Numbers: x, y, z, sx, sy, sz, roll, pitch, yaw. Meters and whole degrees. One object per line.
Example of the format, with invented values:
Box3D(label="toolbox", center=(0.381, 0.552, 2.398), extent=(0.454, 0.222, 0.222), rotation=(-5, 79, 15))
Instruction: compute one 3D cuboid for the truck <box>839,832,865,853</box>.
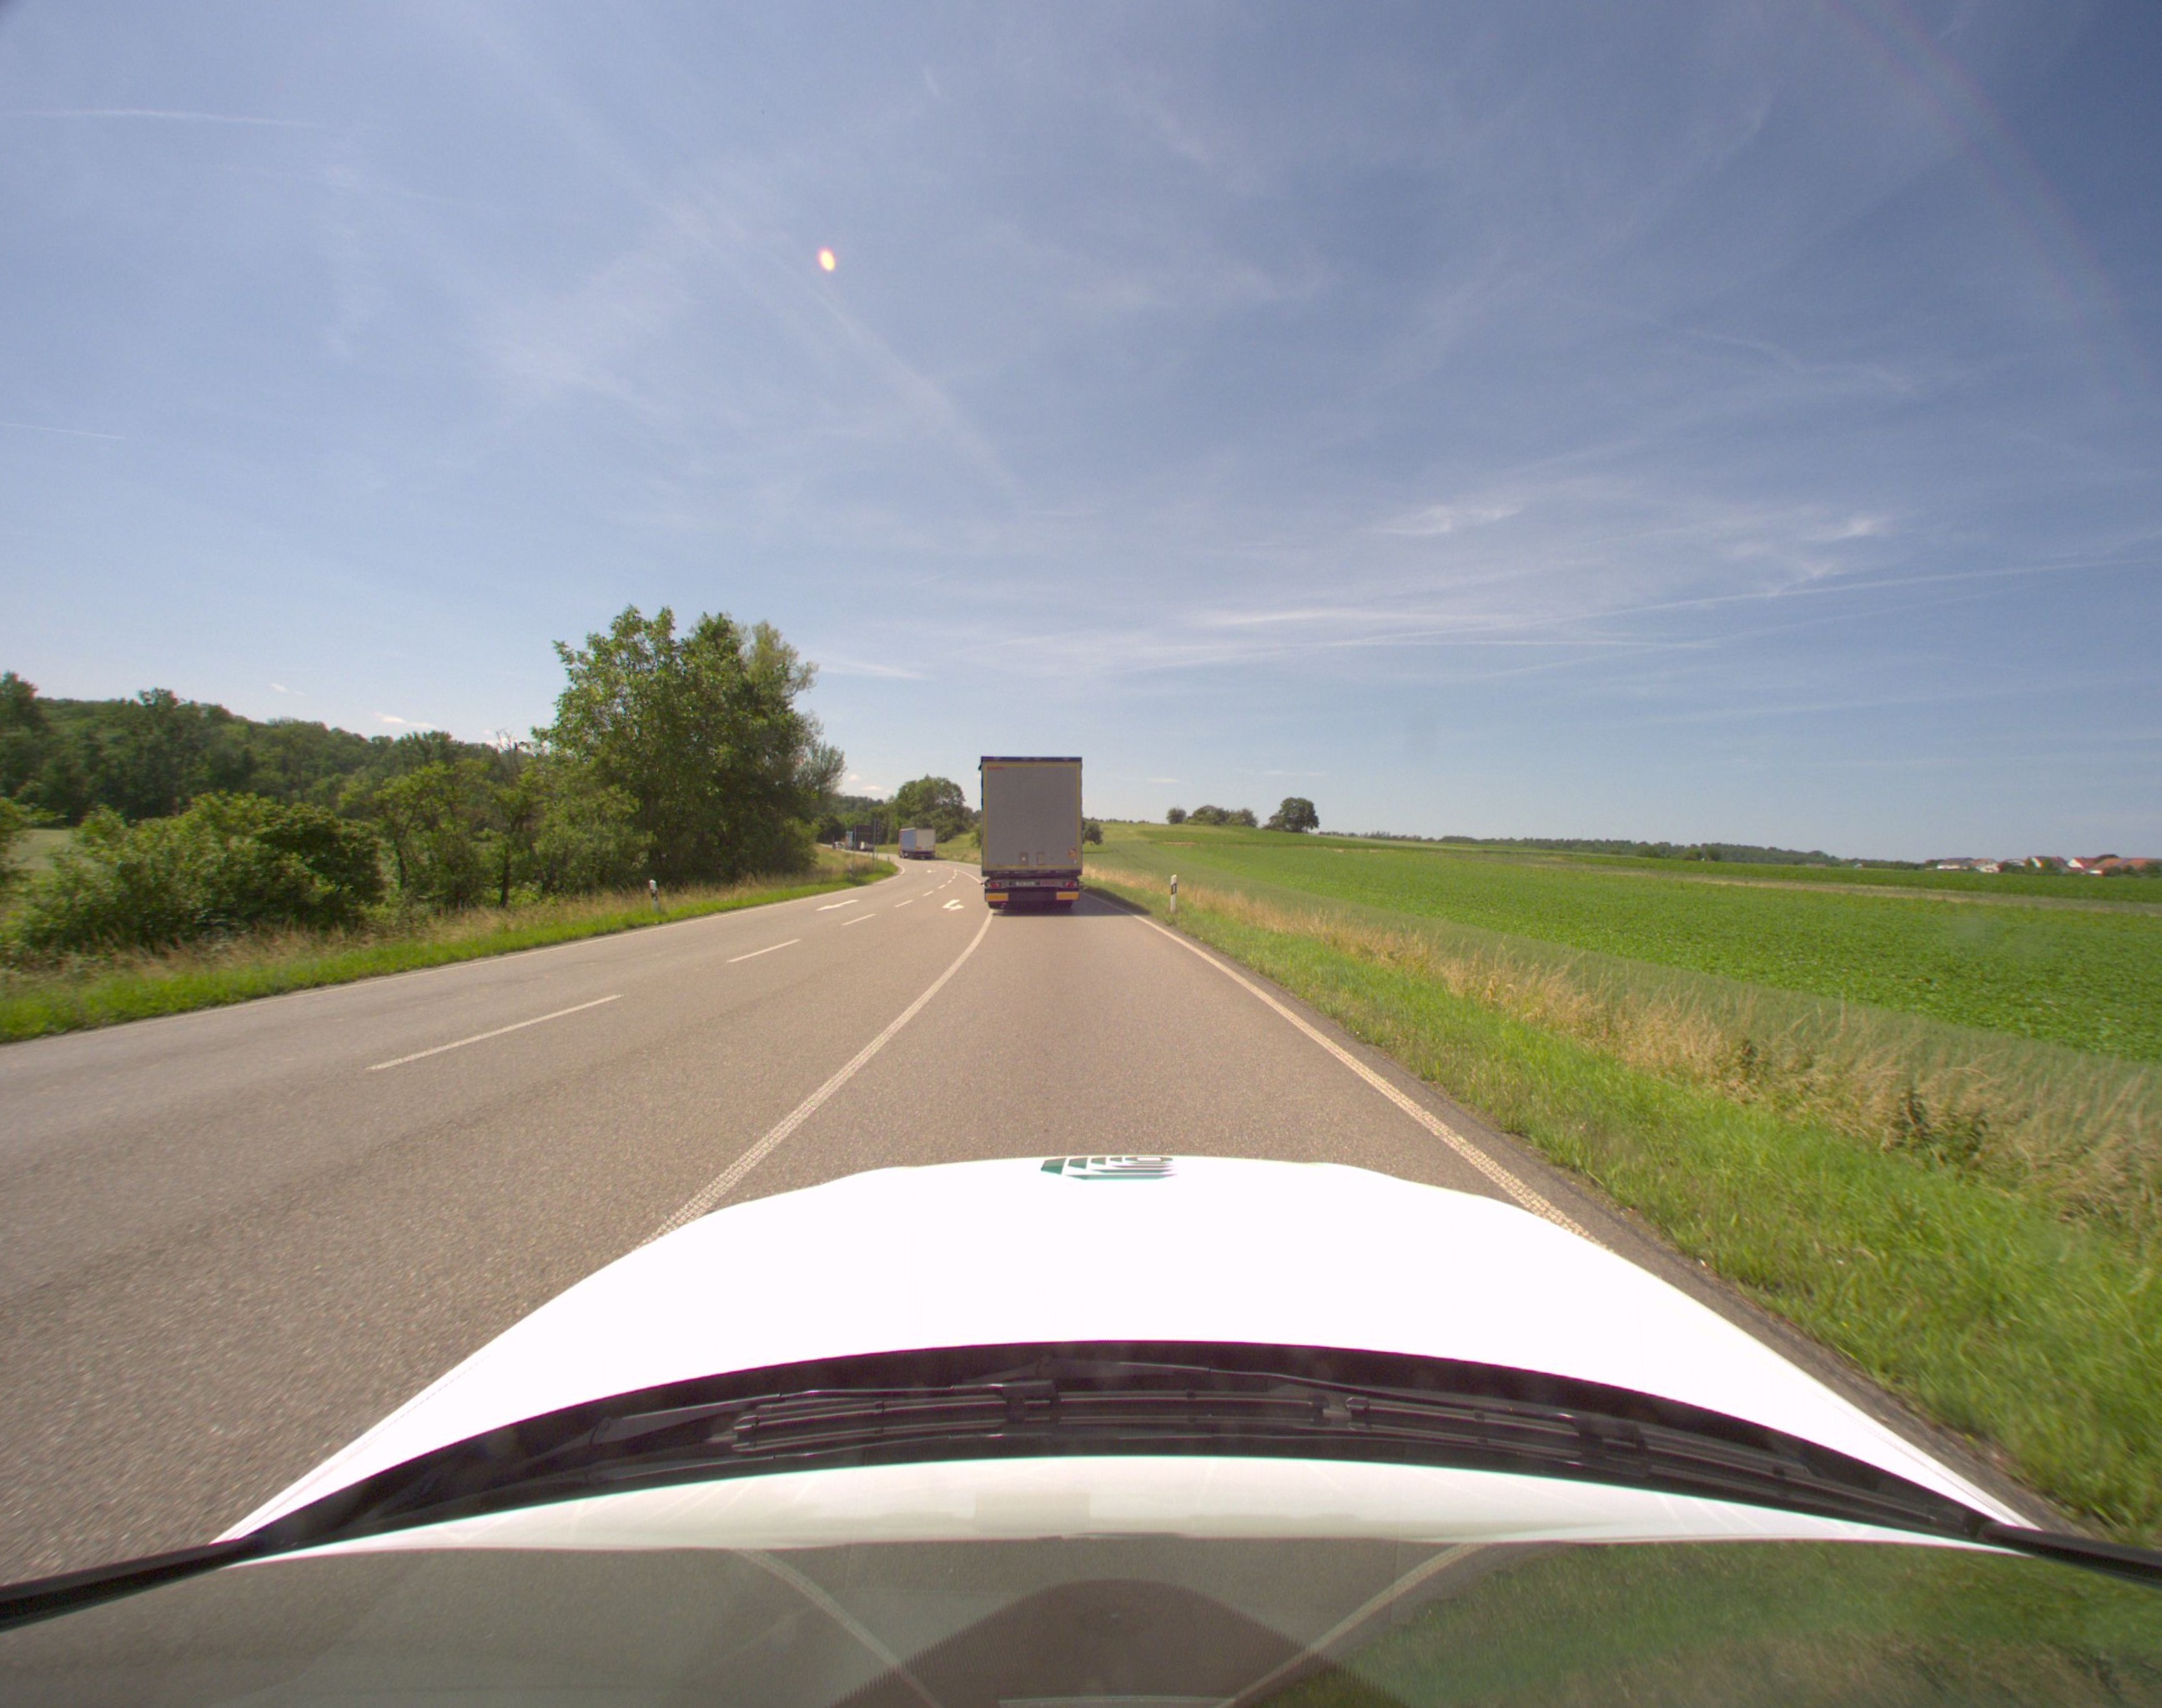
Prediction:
Box3D(label="truck", center=(-50.679, -2.453, 179.923), extent=(3.545, 4.241, 13.298), rotation=(3, -2, -24))

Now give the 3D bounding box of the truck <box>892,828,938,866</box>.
Box3D(label="truck", center=(-22.419, -0.960, 108.786), extent=(2.973, 4.584, 16.196), rotation=(2, 0, -22))

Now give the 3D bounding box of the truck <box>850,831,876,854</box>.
Box3D(label="truck", center=(-44.081, -2.282, 164.692), extent=(3.650, 4.130, 13.005), rotation=(3, -2, -21))

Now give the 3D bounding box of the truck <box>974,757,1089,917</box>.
Box3D(label="truck", center=(-1.614, -0.470, 25.061), extent=(2.803, 3.946, 9.574), rotation=(-1, 0, -5))
